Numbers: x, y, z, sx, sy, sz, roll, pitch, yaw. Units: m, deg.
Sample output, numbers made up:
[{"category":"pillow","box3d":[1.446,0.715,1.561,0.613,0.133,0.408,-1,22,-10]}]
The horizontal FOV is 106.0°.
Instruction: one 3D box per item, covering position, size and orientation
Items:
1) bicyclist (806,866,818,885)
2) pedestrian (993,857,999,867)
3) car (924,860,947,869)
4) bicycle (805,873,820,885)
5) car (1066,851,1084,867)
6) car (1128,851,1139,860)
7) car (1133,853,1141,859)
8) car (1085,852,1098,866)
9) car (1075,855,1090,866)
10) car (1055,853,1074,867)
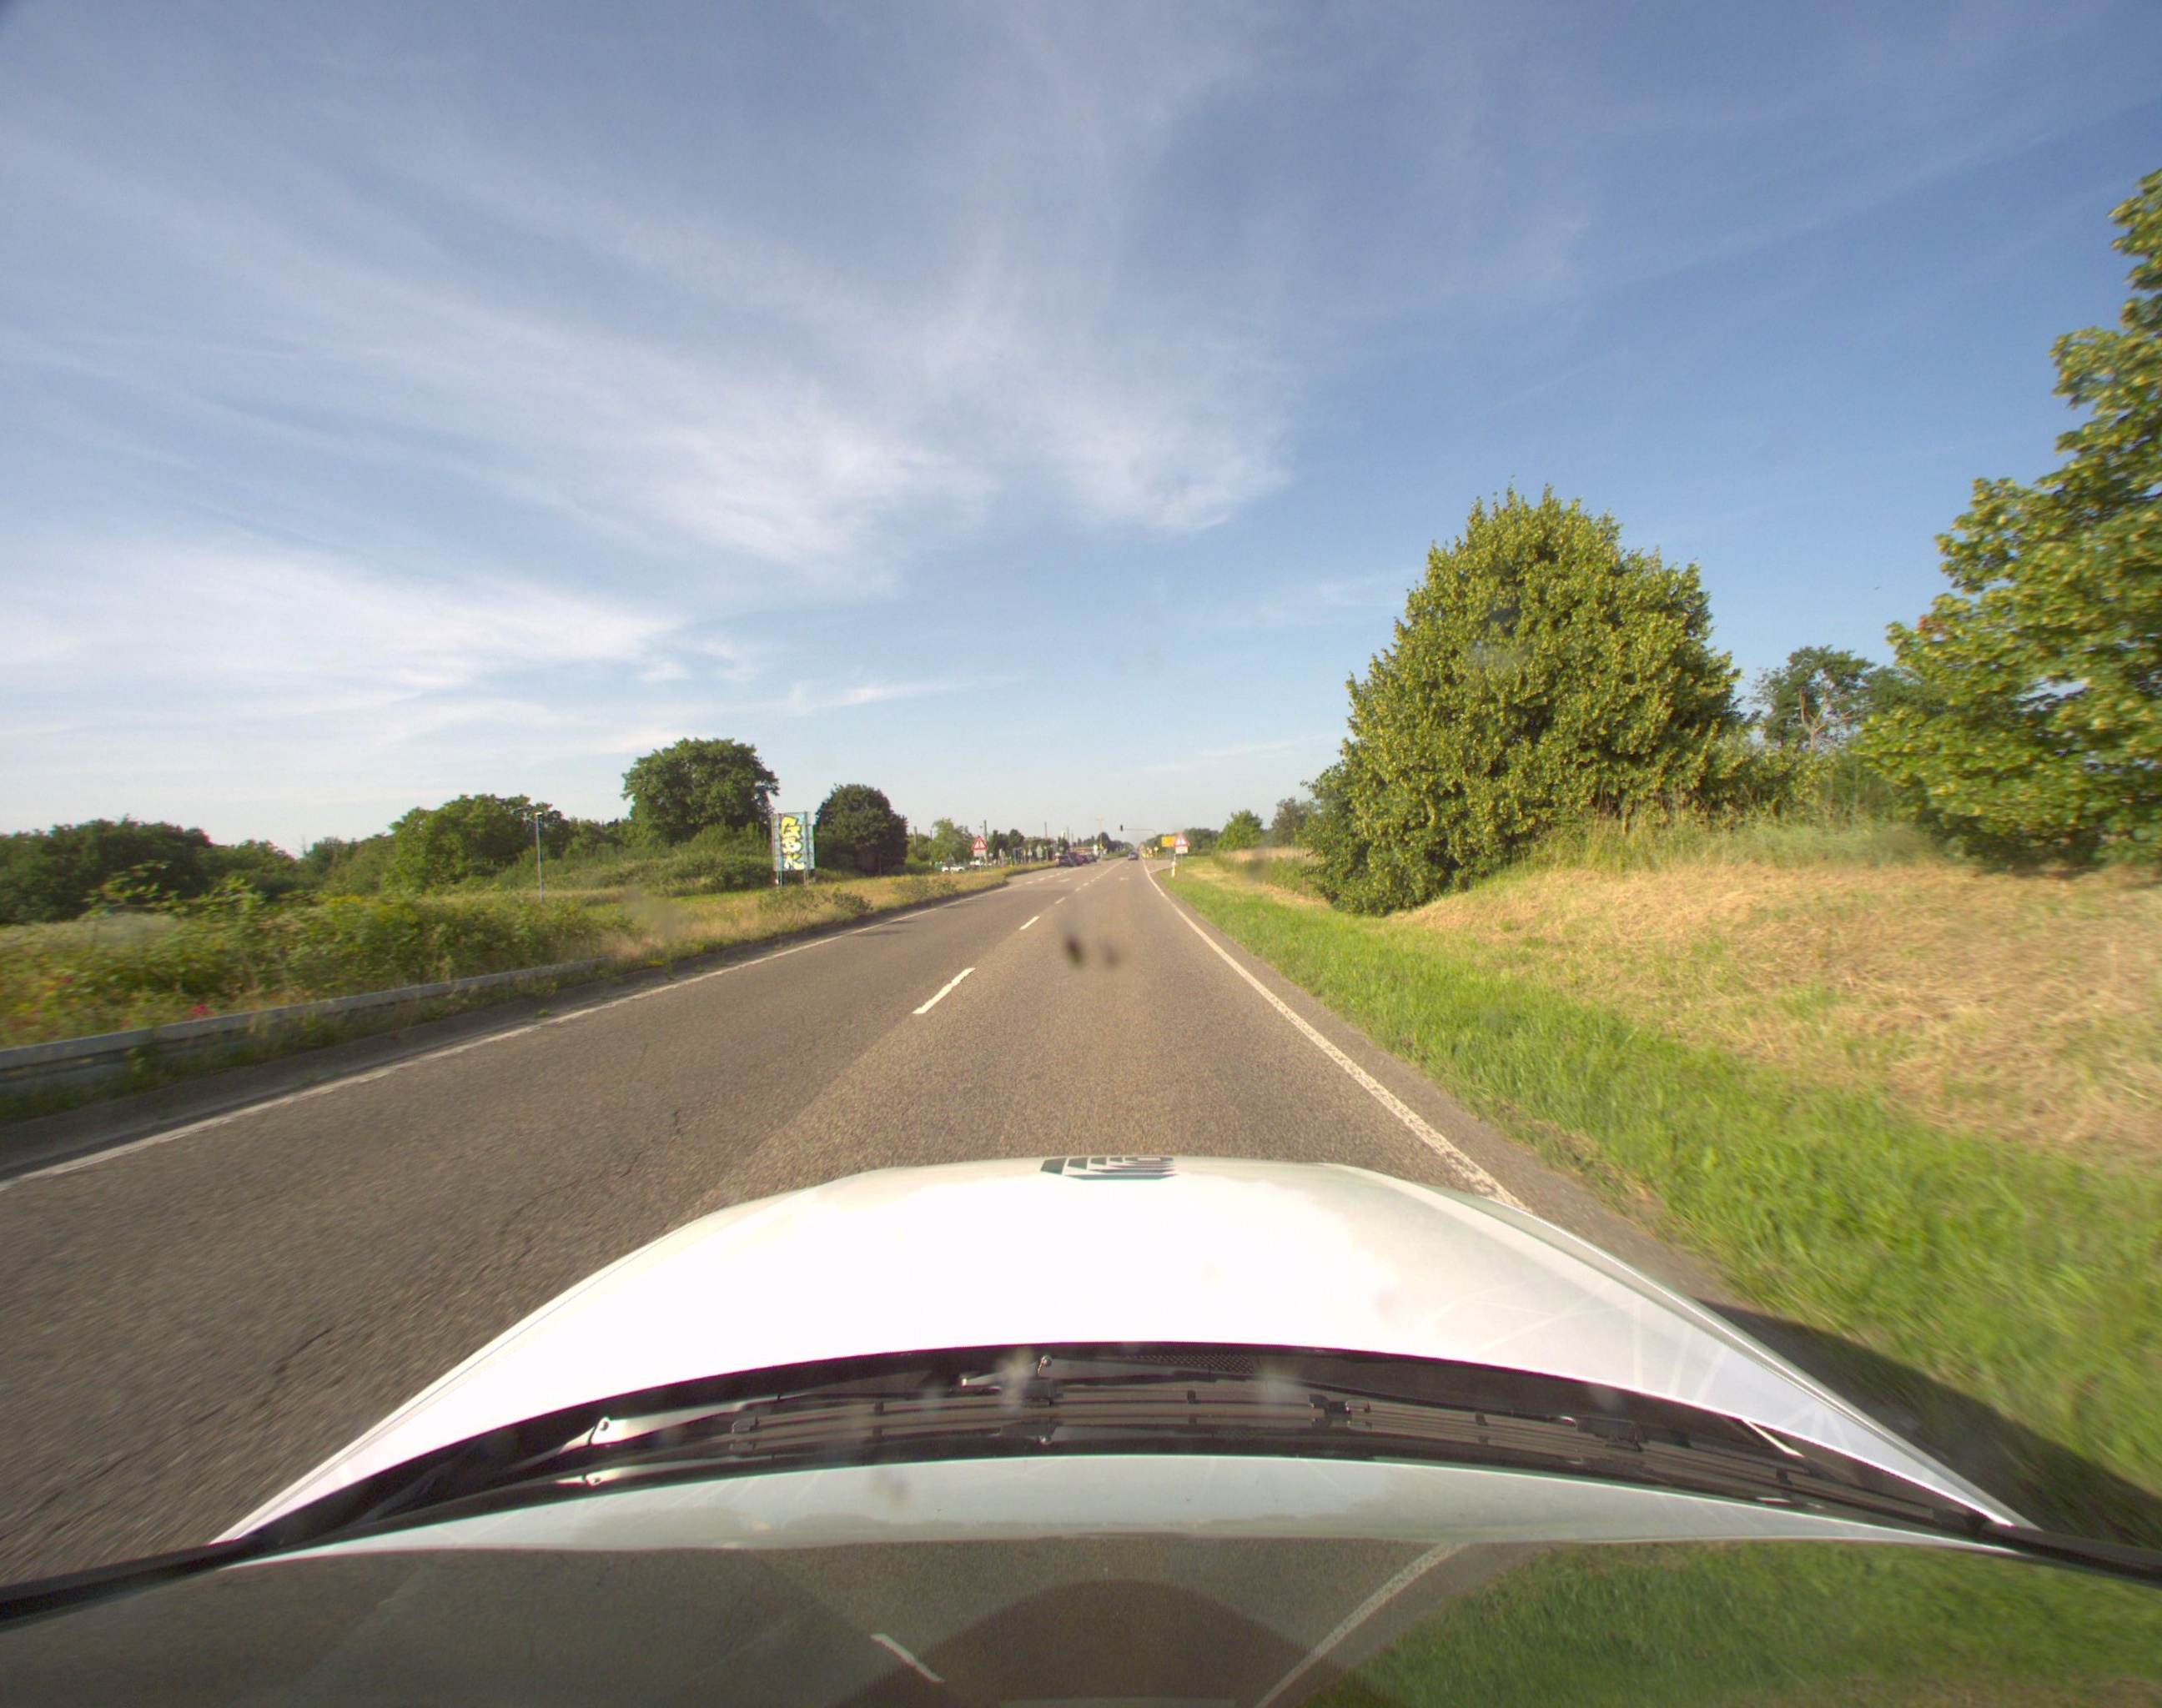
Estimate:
[{"category":"bicyclist","box3d":[-20.966,1.677,63.425,0.465,1.389,1.049,-3,0,4]},{"category":"pedestrian","box3d":[-14.648,1.412,140.616,0.913,1.706,1.067,-1,-2,-2]},{"category":"car","box3d":[-26.058,1.894,145.752,3.985,1.662,1.881,-1,-1,-9]},{"category":"bicycle","box3d":[-20.935,1.928,63.534,0.527,0.878,1.706,-3,0,4]},{"category":"car","box3d":[-0.732,0.613,102.149,1.724,1.855,4.526,-3,0,5]},{"category":"car","box3d":[9.693,0.318,150.474,1.984,1.552,4.005,-3,0,5]},{"category":"car","box3d":[15.749,0.590,229.920,1.984,1.596,4.006,-3,0,5]},{"category":"car","box3d":[1.828,0.873,139.808,1.986,2.014,4.837,-3,-2,1]},{"category":"car","box3d":[0.234,0.936,120.886,1.761,1.471,4.020,-3,0,5]},{"category":"car","box3d":[-1.897,0.670,95.033,1.724,1.456,4.526,-3,0,5]}]
